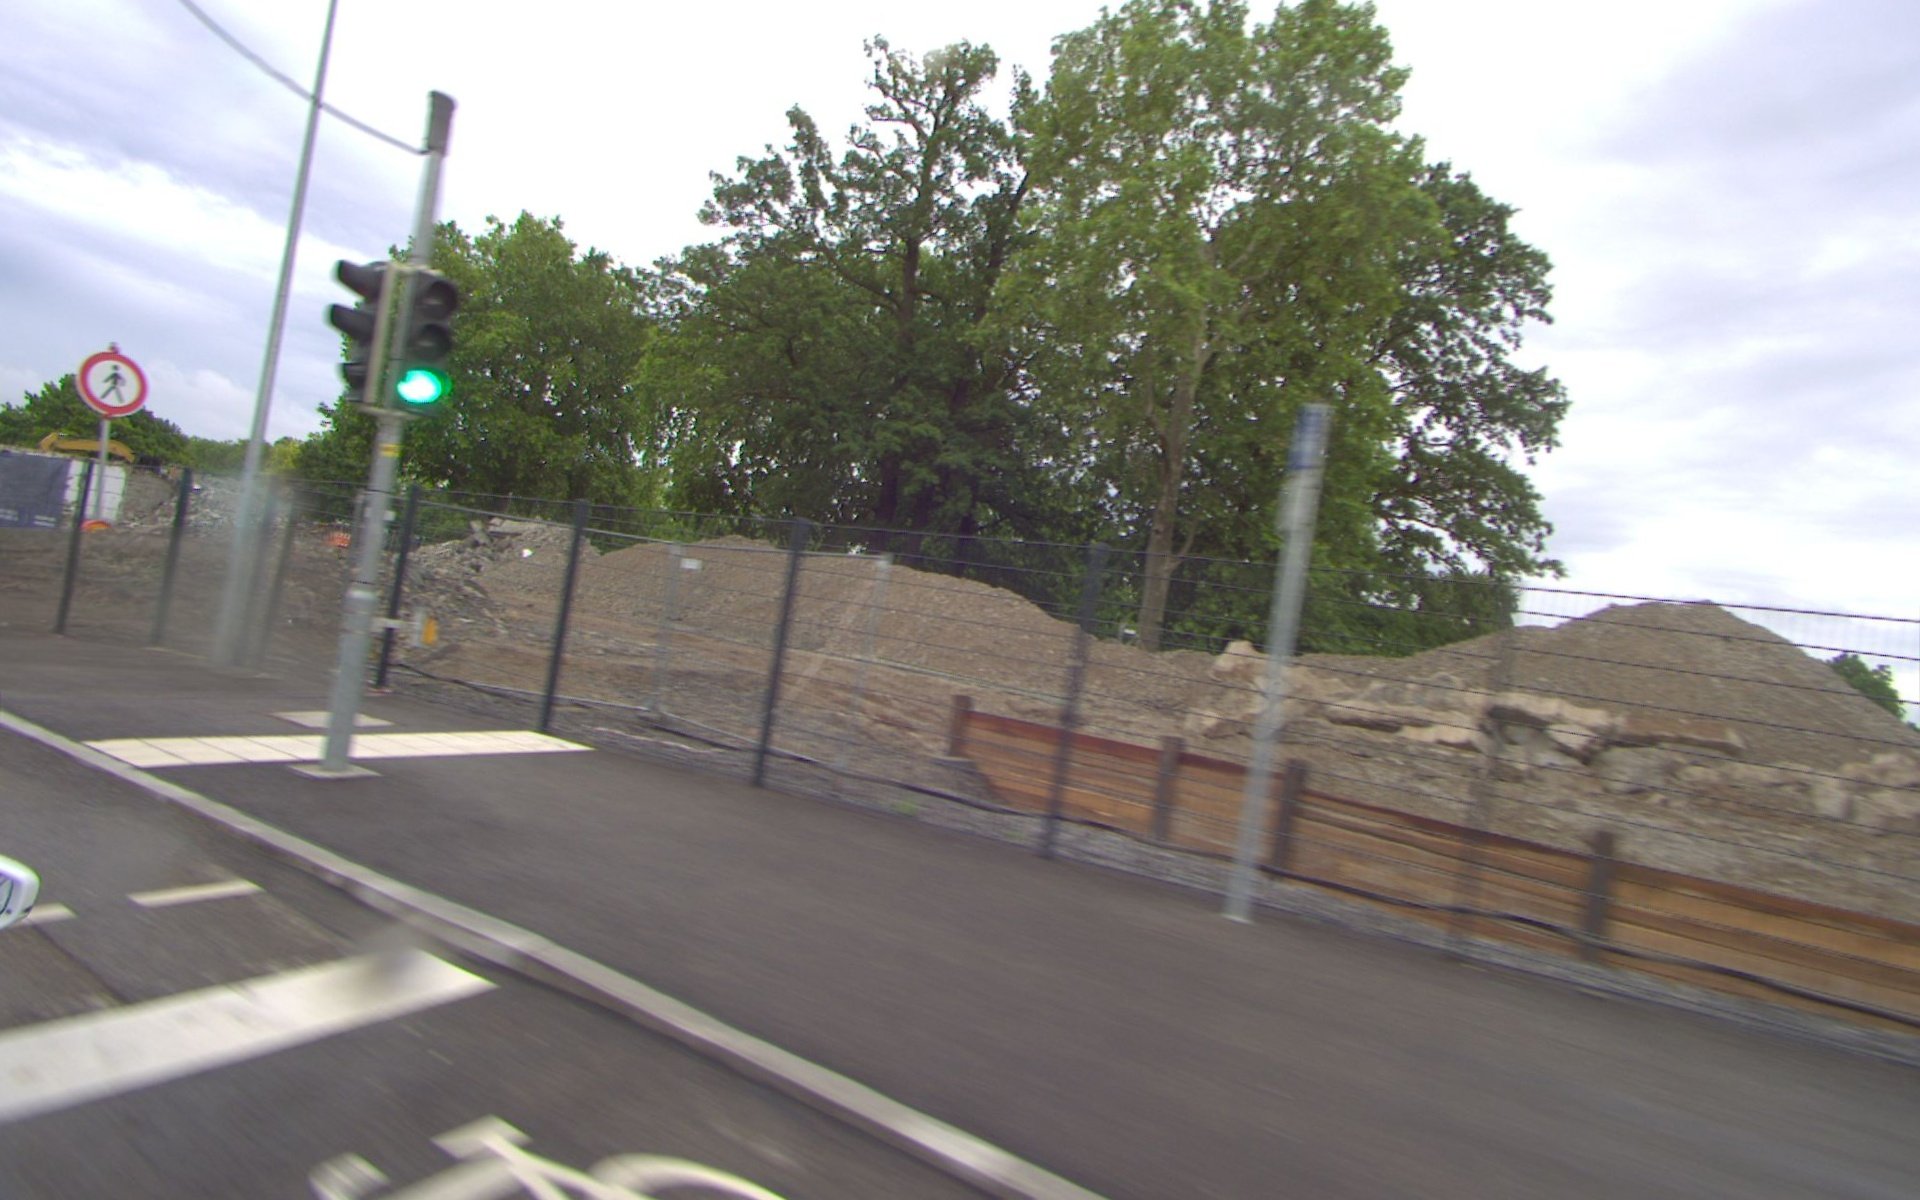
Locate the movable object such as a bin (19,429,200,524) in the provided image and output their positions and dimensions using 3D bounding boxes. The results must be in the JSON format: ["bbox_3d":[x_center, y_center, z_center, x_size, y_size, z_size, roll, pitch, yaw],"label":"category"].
[{"bbox_3d":[-74.735,-10.691,88.796,3.437,6.065,11.239,6,-2,36],"label":"movable object such as a bin"}]
